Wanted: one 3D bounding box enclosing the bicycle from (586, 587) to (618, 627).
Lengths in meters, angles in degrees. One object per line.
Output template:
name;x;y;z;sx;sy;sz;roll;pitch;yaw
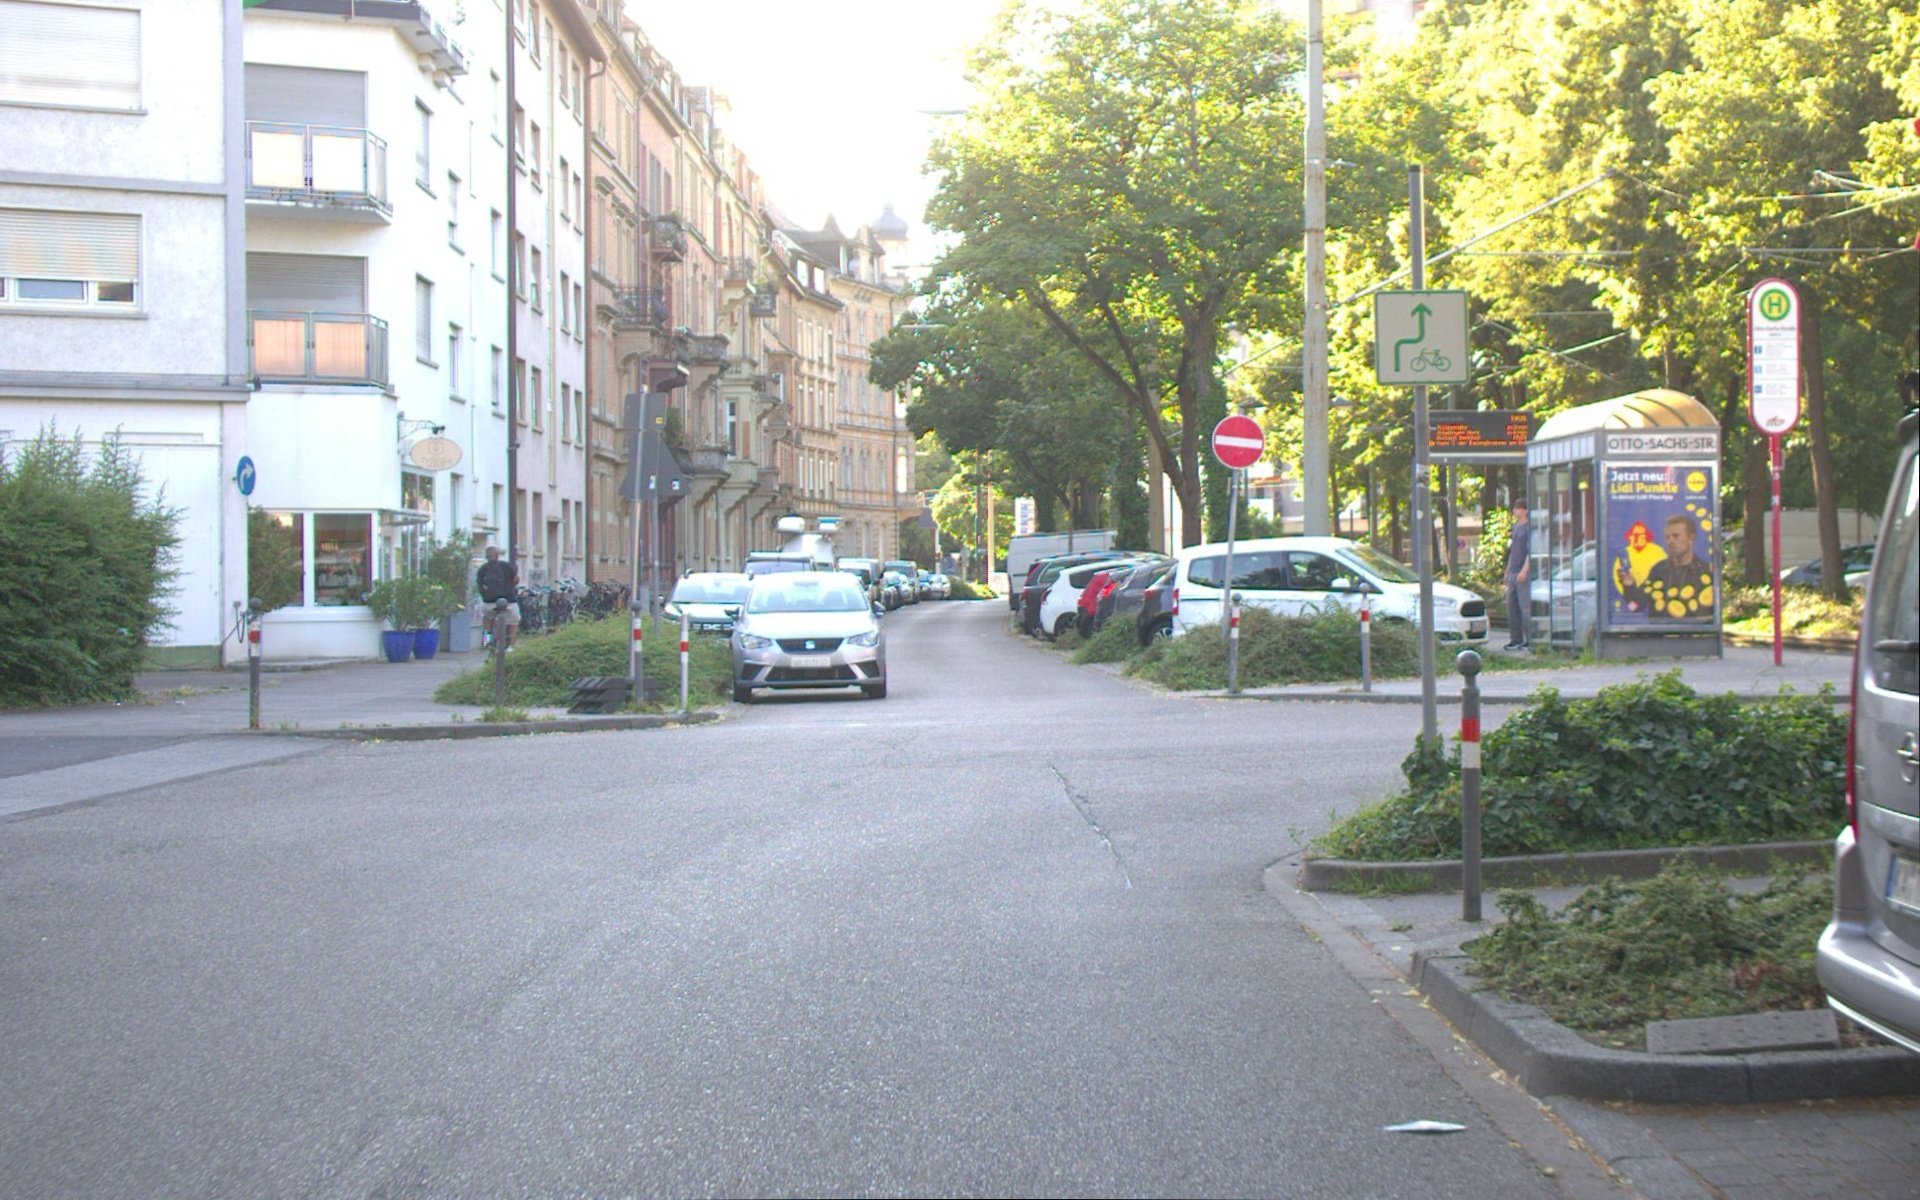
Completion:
bicycle;-9.214;0.181;88.563;0.626;1.000;2.176;-1;1;-1

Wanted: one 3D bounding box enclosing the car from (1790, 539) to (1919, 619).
car;19.590;-0.415;72.565;3.821;1.582;1.736;2;0;19

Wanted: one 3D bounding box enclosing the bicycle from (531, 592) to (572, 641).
bicycle;-8.643;0.336;72.767;0.626;1.000;2.176;-1;1;-1

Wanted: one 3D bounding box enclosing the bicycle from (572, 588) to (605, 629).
bicycle;-9.298;0.205;86.166;0.626;1.000;2.176;-1;1;-1

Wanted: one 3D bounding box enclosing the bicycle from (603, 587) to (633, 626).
bicycle;-9.127;0.161;91.771;0.626;1.000;2.176;-1;1;-1

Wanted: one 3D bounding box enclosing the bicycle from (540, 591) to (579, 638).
bicycle;-8.887;0.307;76.303;0.626;1.000;2.176;-1;1;-1

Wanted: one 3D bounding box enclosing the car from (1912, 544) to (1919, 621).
car;19.655;-0.249;63.515;3.821;1.386;1.736;2;0;19

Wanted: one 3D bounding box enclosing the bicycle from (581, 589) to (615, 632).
bicycle;-8.752;0.244;83.182;0.626;1.000;2.176;-1;1;-1

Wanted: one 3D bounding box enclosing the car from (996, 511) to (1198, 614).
car;4.006;-1.102;100.597;5.259;2.563;2.270;-4;0;28

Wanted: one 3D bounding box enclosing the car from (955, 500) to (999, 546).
car;0.972;-4.345;194.893;1.711;2.553;5.565;-2;1;8

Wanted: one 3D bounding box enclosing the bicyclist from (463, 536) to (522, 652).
bicyclist;-6.605;-0.087;48.617;0.712;1.611;0.723;-1;0;0

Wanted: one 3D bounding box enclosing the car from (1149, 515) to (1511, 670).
car;4.743;-0.083;44.228;4.234;1.647;1.605;-4;0;31

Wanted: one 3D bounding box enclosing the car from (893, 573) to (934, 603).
car;-2.353;-0.608;174.931;1.711;1.441;4.000;-2;1;4

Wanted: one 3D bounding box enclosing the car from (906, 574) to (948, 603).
car;-1.704;-0.608;180.322;1.711;1.441;3.999;-2;1;6

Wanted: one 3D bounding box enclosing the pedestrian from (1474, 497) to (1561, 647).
pedestrian;7.180;-0.361;44.254;0.849;1.904;0.836;-1;0;29

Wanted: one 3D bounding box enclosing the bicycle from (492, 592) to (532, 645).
bicycle;-8.960;0.362;68.794;0.531;1.000;2.176;-1;1;-1

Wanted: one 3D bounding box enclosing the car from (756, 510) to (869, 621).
car;-3.980;-0.951;93.954;2.552;2.877;5.481;-2;1;2

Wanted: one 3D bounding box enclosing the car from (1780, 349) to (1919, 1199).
car;4.340;0.392;7.715;4.539;1.908;1.950;-1;0;2

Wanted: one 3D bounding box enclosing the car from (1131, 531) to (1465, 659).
car;4.687;-0.068;47.757;4.197;1.432;1.699;-4;0;25

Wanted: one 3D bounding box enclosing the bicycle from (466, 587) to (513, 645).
bicycle;-8.511;0.285;62.202;0.531;1.000;2.176;-1;1;0

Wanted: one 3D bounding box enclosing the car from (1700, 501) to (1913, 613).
car;20.087;-1.028;81.615;4.493;2.468;1.816;2;0;31

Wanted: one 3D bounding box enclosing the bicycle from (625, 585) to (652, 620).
bicycle;-9.484;0.065;101.344;0.626;1.000;2.176;-1;1;-1

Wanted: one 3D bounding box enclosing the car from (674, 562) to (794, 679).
car;-3.422;0.281;52.569;1.710;1.667;4.000;-2;1;-3

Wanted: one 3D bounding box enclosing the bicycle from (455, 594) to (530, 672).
bicycle;-6.594;0.449;48.568;0.712;1.047;2.348;-1;1;0

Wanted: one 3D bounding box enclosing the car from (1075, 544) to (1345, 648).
car;4.296;-0.067;59.136;4.232;1.454;1.606;-4;0;24

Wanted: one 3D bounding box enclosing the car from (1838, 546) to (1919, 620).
car;19.797;-0.303;69.461;3.821;1.416;1.736;2;0;19

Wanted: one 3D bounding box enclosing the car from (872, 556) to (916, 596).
car;-3.167;-1.166;164.938;1.711;1.814;4.000;-2;1;4

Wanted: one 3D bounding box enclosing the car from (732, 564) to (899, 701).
car;-1.715;0.333;39.704;1.710;1.441;4.001;-2;1;-5

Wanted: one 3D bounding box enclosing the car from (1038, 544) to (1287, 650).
car;3.789;-0.057;64.658;4.236;1.645;1.854;-4;0;36
